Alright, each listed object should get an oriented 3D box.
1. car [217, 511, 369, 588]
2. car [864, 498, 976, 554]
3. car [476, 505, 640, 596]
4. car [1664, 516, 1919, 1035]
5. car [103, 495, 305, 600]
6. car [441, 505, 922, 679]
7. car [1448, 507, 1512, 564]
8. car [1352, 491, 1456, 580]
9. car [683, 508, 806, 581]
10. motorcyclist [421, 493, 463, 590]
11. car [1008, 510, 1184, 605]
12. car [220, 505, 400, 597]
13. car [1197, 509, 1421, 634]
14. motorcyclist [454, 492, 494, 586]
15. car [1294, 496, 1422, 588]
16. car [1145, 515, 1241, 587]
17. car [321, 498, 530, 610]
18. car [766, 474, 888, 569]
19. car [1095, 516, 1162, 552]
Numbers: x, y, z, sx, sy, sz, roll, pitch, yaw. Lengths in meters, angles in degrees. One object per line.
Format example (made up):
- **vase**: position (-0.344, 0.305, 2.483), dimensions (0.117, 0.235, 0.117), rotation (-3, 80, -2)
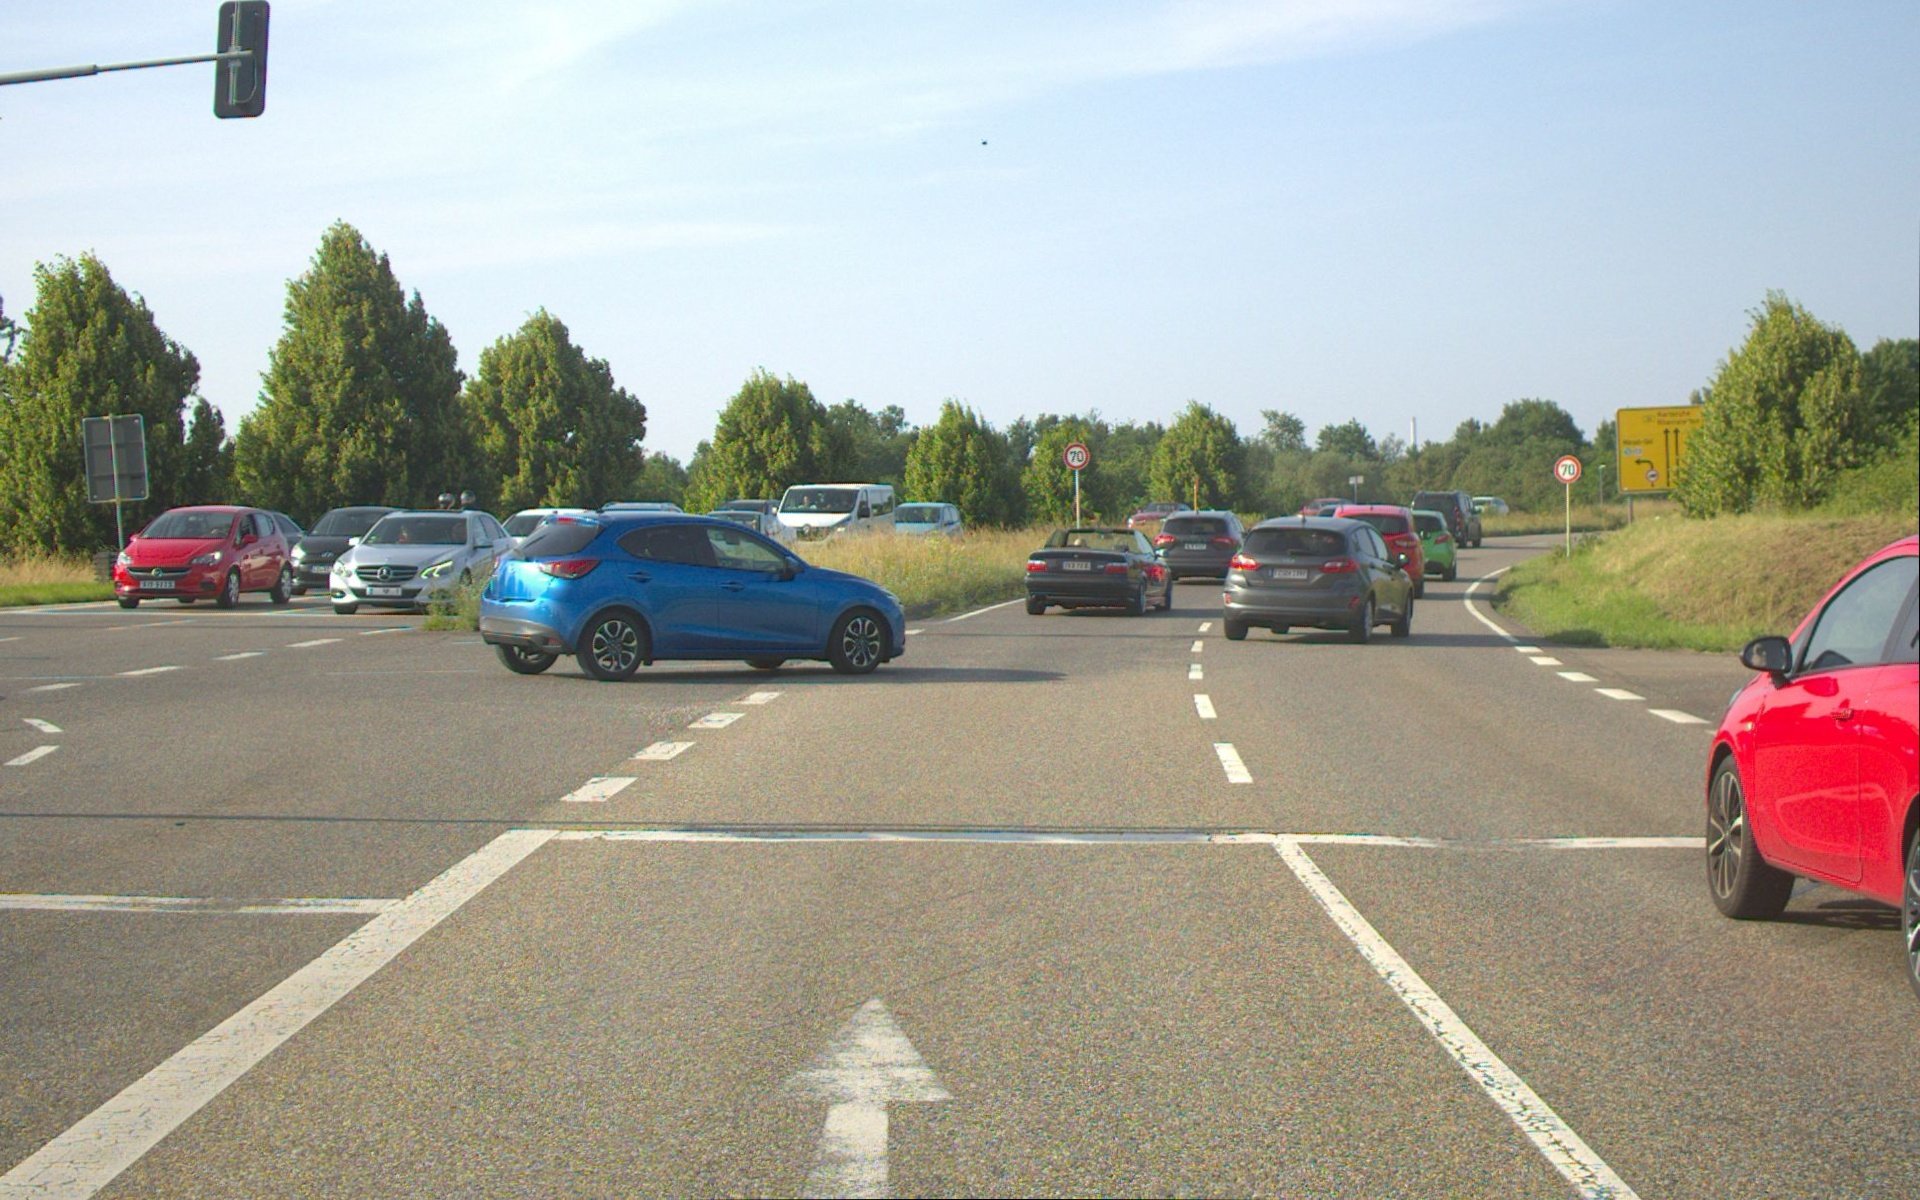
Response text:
- **car**: position (-11.733, -0.915, 60.725), dimensions (1.437, 1.288, 4.672), rotation (-1, 1, 4)
- **car**: position (-0.981, -1.898, 87.602), dimensions (1.787, 1.381, 4.048), rotation (0, 1, 15)
- **car**: position (-6.633, -0.847, 57.115), dimensions (1.786, 1.428, 4.308), rotation (-1, 1, 6)
- **car**: position (3.666, 0.489, 11.579), dimensions (1.696, 1.544, 3.751), rotation (-1, 1, -2)
- **car**: position (-11.110, -0.796, 50.766), dimensions (1.721, 1.483, 3.803), rotation (-1, 1, 7)
- **car**: position (-2.496, -0.116, 31.126), dimensions (3.972, 1.487, 1.778), rotation (-1, 2, -34)
- **car**: position (16.437, -2.039, 108.794), dimensions (1.909, 1.728, 4.277), rotation (0, 0, 7)
- **car**: position (9.316, -1.330, 72.357), dimensions (1.909, 1.794, 4.277), rotation (0, 0, 4)
- **car**: position (-4.271, -1.126, 68.607), dimensions (1.786, 1.381, 4.051), rotation (-1, 1, 6)
- **motorcyclist**: position (-9.419, -1.070, 62.538), dimensions (0.662, 1.741, 0.605), rotation (-1, 1, -1)
- **car**: position (2.029, -0.603, 49.968), dimensions (1.910, 1.318, 4.276), rotation (0, 0, 11)
- **car**: position (-10.576, -0.821, 56.226), dimensions (1.786, 1.428, 4.051), rotation (-1, 1, 6)
- **car**: position (4.204, -0.335, 40.951), dimensions (1.916, 1.411, 3.792), rotation (0, 0, 18)
- **motorcyclist**: position (-9.351, -1.176, 66.153), dimensions (0.662, 1.810, 0.605), rotation (-1, 1, -1)
- **car**: position (6.974, -0.991, 60.628), dimensions (1.895, 1.559, 4.278), rotation (0, 0, 2)
- **car**: position (4.588, -0.955, 68.267), dimensions (1.836, 1.372, 4.277), rotation (0, 0, 3)
- **car**: position (-7.504, -0.678, 48.704), dimensions (1.786, 1.483, 4.650), rotation (-1, 1, 6)
- **car**: position (-2.988, -1.790, 78.016), dimensions (1.926, 2.071, 4.242), rotation (0, 1, 9)
- **car**: position (6.647, -2.599, 135.334), dimensions (1.787, 1.381, 4.048), rotation (0, 1, 15)
